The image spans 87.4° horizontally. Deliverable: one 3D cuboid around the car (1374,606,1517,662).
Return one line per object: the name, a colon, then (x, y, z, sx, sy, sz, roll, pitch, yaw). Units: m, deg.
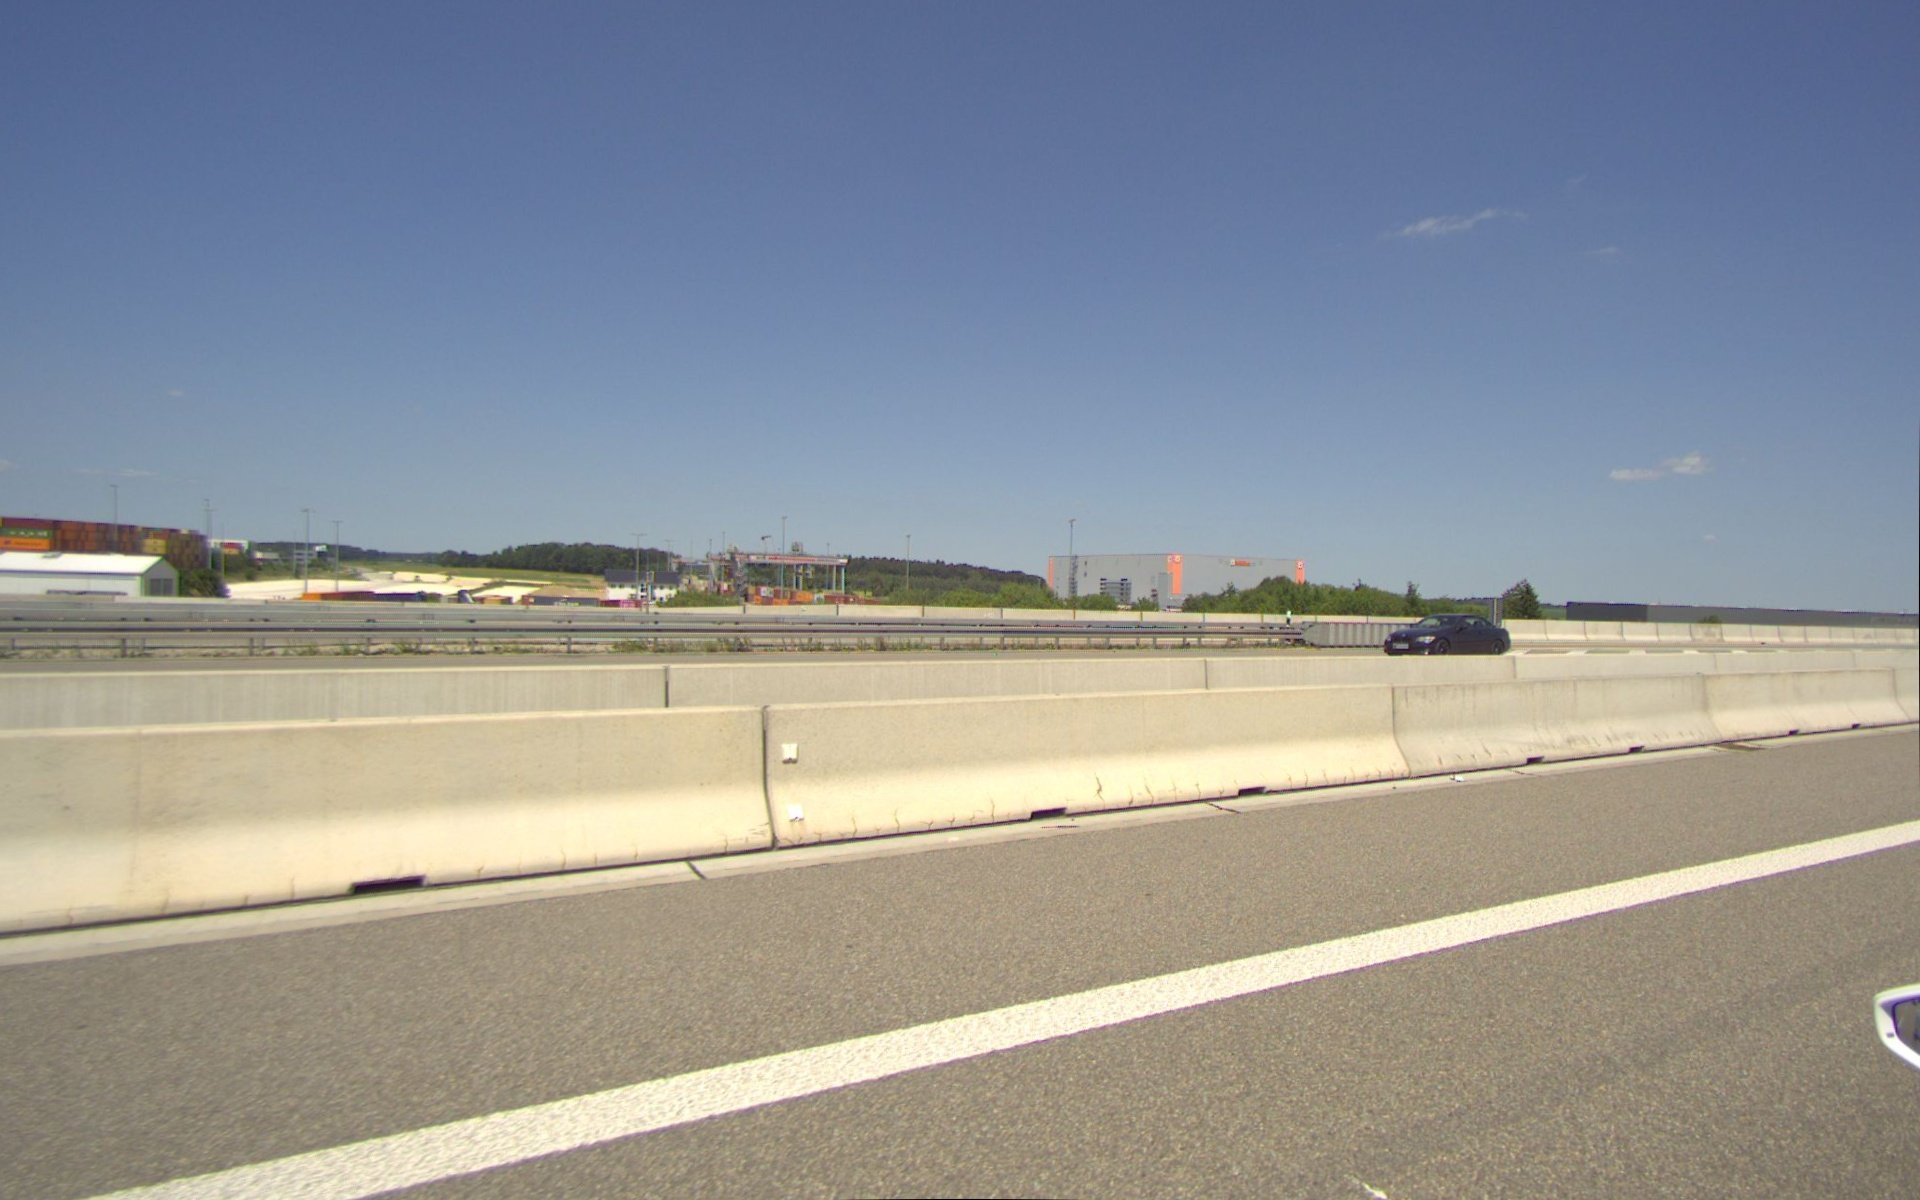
car: (14.856, 1.019, 30.653, 4.495, 1.557, 1.724, 1, 0, -31)
